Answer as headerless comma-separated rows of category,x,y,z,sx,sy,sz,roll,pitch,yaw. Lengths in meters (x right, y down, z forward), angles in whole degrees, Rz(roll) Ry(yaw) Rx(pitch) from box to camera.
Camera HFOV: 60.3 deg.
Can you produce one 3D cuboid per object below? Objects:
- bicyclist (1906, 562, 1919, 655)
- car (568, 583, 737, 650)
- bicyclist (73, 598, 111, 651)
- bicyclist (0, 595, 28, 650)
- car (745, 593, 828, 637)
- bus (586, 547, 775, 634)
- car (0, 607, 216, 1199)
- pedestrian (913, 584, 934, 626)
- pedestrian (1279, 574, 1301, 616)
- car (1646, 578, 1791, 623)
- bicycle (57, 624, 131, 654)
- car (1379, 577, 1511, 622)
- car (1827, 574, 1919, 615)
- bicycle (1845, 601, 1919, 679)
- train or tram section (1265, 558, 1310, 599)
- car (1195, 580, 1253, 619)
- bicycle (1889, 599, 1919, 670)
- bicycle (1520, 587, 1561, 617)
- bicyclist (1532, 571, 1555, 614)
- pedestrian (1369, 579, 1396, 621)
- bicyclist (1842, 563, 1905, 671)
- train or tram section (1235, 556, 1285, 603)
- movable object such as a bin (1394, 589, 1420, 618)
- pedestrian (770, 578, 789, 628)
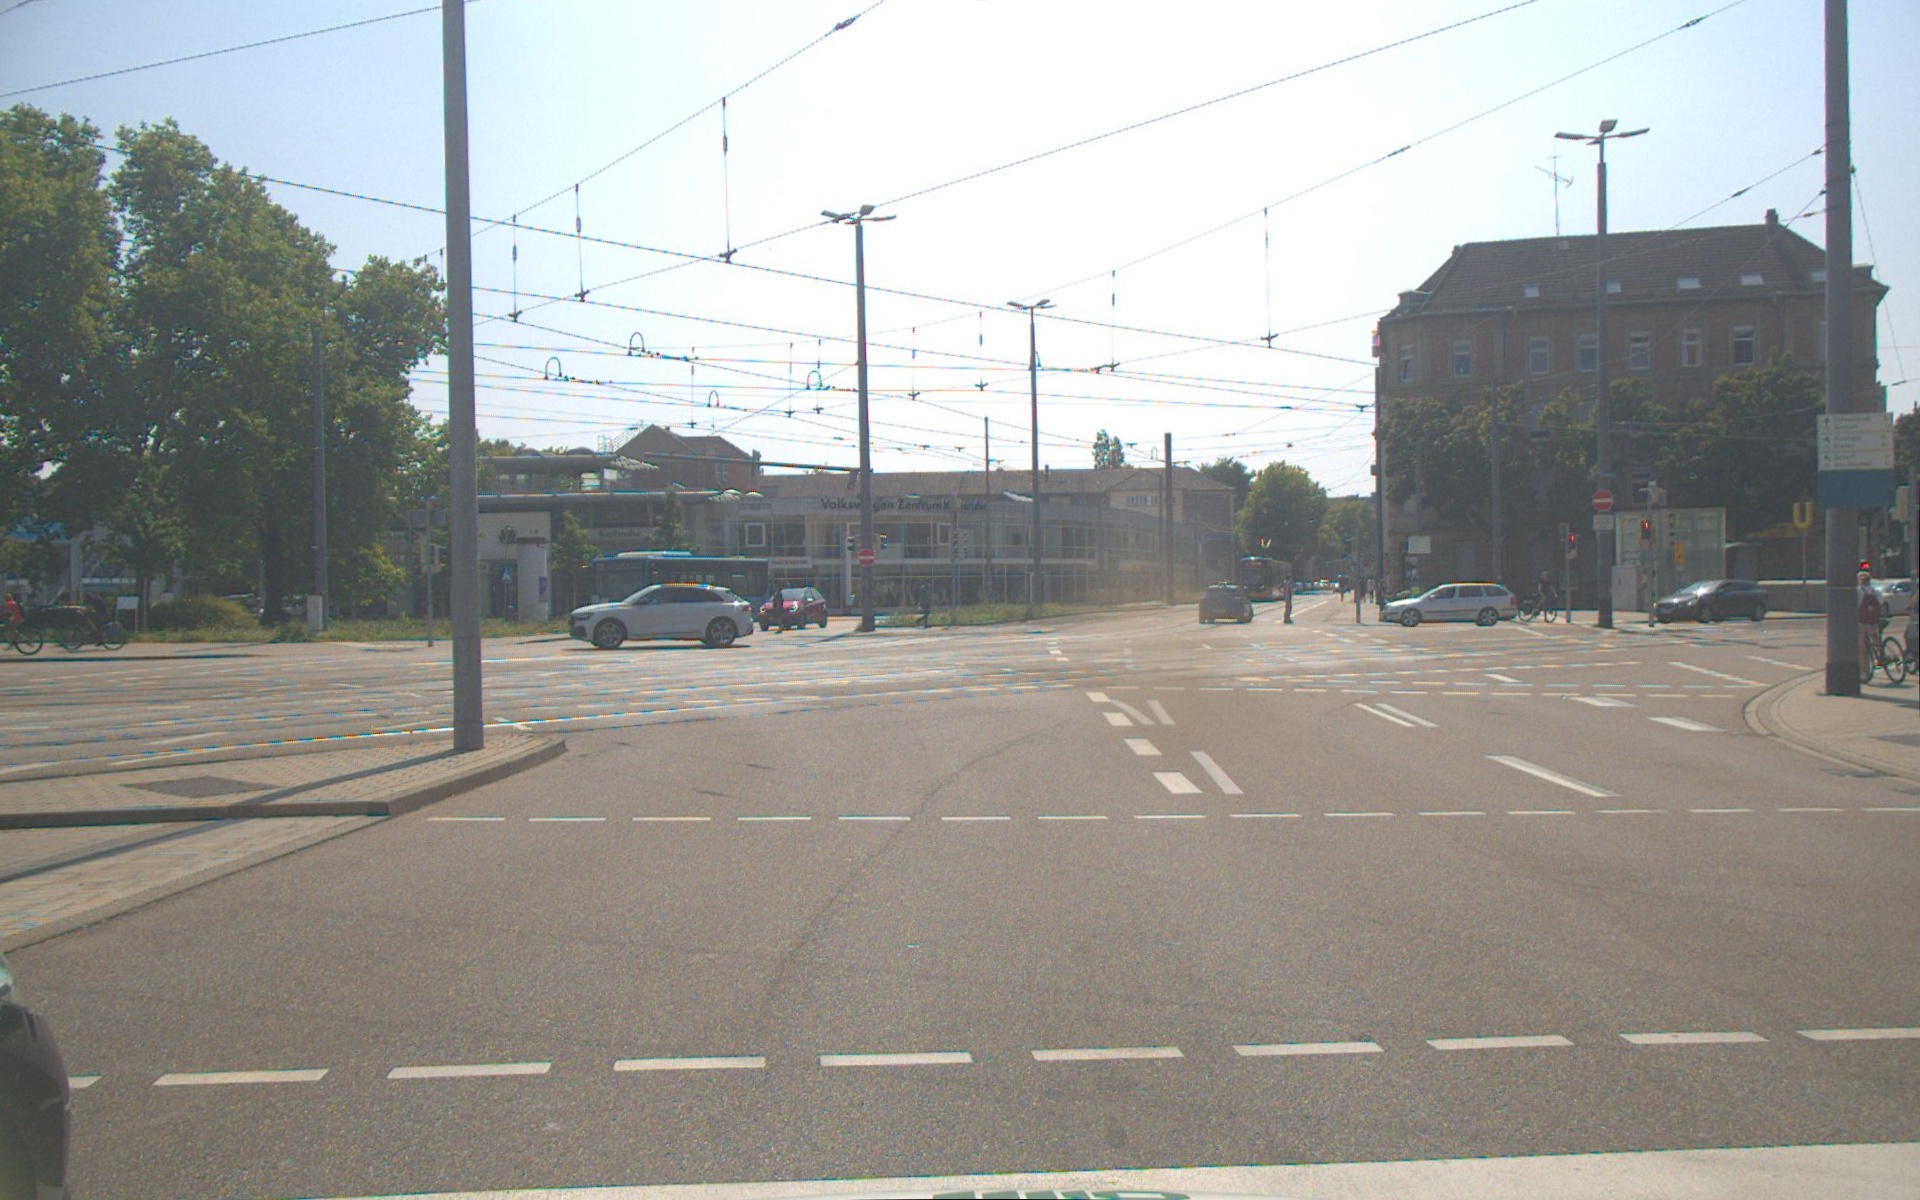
bicyclist,14.864,0.127,25.195,0.519,1.417,0.894,-1,0,11
car,-8.205,0.414,44.110,4.255,1.646,1.746,-1,0,-18
bicyclist,-25.241,0.712,48.116,0.857,1.501,0.543,-1,0,-18
bicyclist,-26.387,0.627,45.825,0.856,1.509,0.496,-1,0,-13
car,-6.605,0.542,63.449,1.713,1.579,4.002,-1,0,17
bus,-10.948,-0.389,66.630,2.508,3.136,12.031,-1,0,16
car,-2.491,0.725,1.517,1.728,1.412,3.783,1,0,3
pedestrian,-1.296,0.171,58.802,0.666,1.468,0.364,-1,0,-18
pedestrian,12.884,-0.186,64.635,0.686,1.631,0.572,-1,0,-8
car,26.056,-0.002,56.839,4.684,1.440,1.765,-1,0,-20
bicycle,-25.187,1.120,48.129,1.828,0.816,0.604,-1,0,-19
car,16.551,-0.013,56.588,4.086,1.440,1.777,-1,0,8
car,34.481,-0.224,61.625,4.137,1.440,1.761,-1,0,-26
bicycle,13.403,0.566,23.997,0.525,1.073,1.655,-1,0,12
train or tram section,30.614,-1.986,154.119,2.534,3.578,12.979,-1,0,18
car,10.226,-0.027,63.931,1.557,1.418,4.002,-1,0,19
bicycle,14.932,0.523,25.550,0.525,1.073,1.655,-1,0,12
bicycle,21.327,0.081,60.813,0.462,1.073,1.643,-1,0,-21
bicyclist,21.400,-0.285,60.640,0.603,1.555,0.517,-1,0,-25
pedestrian,16.333,0.002,63.906,0.834,1.572,0.528,-1,0,-9
bicyclist,13.418,0.245,24.305,0.614,1.544,0.712,-1,0,11
train or tram section,24.276,-1.646,133.373,2.534,3.578,10.904,-1,0,18
movable object such as a bin,17.205,0.147,63.658,0.798,1.096,0.510,-1,0,-11
pedestrian,-6.310,0.099,57.732,0.544,1.713,0.452,-1,0,-19
